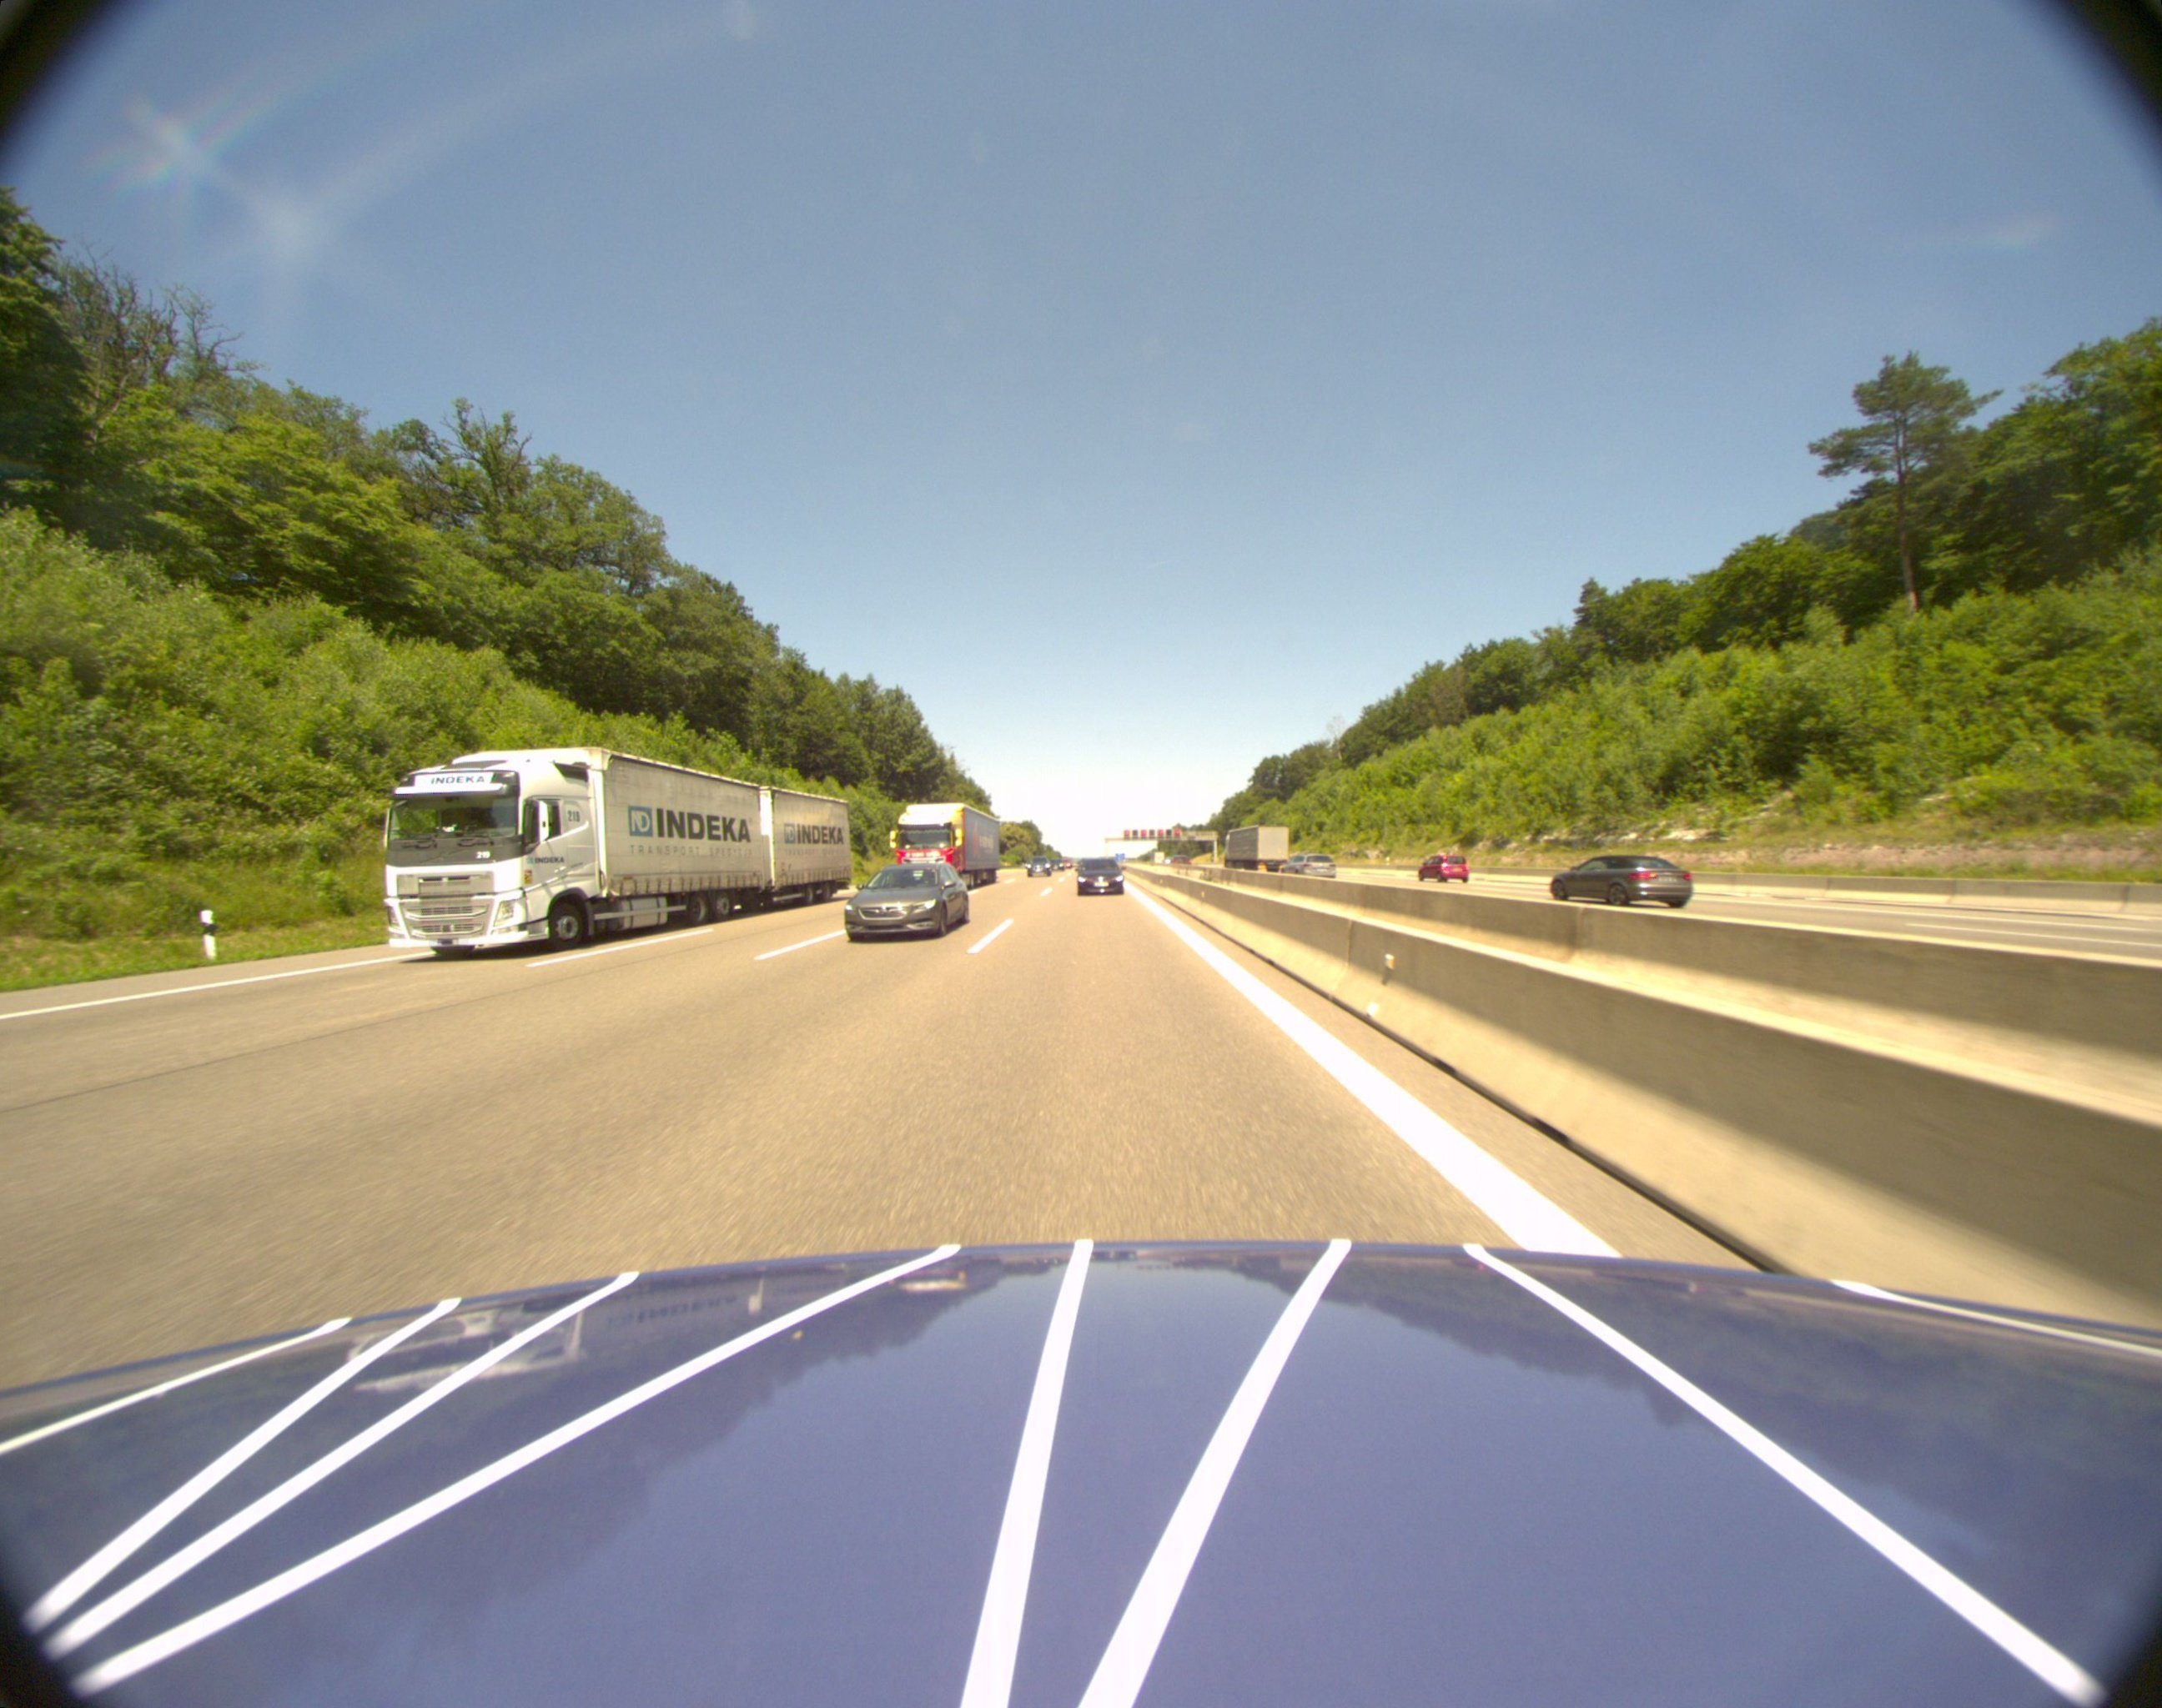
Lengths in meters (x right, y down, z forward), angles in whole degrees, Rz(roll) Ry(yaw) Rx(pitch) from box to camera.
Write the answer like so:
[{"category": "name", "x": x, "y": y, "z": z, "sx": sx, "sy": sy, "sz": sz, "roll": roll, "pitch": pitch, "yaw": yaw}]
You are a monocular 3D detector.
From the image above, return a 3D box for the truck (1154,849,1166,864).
[{"category": "truck", "x": 22.375, "y": 0.694, "z": 215.120, "sx": 2.666, "sy": 4.204, "sz": 8.414, "roll": -1, "pitch": 0, "yaw": 2}]

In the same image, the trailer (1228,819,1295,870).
[{"category": "trailer", "x": 16.495, "y": -0.834, "z": 70.667, "sx": 3.108, "sy": 4.229, "sz": 13.840, "roll": 0, "pitch": 0, "yaw": 1}]

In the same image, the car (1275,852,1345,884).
[{"category": "car", "x": 11.708, "y": 0.683, "z": 39.247, "sx": 2.032, "sy": 1.496, "sz": 5.441, "roll": -1, "pitch": 0, "yaw": 1}]

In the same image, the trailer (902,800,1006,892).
[{"category": "trailer", "x": -6.487, "y": -0.367, "z": 41.801, "sx": 2.926, "sy": 4.119, "sz": 14.849, "roll": -1, "pitch": 0, "yaw": 1}]

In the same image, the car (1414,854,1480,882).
[{"category": "car", "x": 20.184, "y": 0.735, "z": 42.079, "sx": 1.875, "sy": 1.492, "sz": 3.720, "roll": -1, "pitch": 0, "yaw": 1}]

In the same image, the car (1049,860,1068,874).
[{"category": "car", "x": -2.531, "y": 1.469, "z": 86.575, "sx": 1.910, "sy": 1.504, "sz": 4.160, "roll": -2, "pitch": 0, "yaw": 2}]

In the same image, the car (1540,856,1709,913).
[{"category": "car", "x": 15.218, "y": 0.785, "z": 21.618, "sx": 1.671, "sy": 1.399, "sz": 4.439, "roll": -1, "pitch": 0, "yaw": 1}]

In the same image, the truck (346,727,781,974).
[{"category": "truck", "x": -11.045, "y": -0.097, "z": 18.521, "sx": 2.728, "sy": 4.137, "sz": 10.969, "roll": -2, "pitch": 0, "yaw": 1}]

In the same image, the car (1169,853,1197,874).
[{"category": "car", "x": 8.922, "y": 0.816, "z": 66.845, "sx": 1.875, "sy": 1.767, "sz": 4.468, "roll": -1, "pitch": 0, "yaw": 1}]

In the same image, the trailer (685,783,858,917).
[{"category": "trailer", "x": -10.838, "y": -0.146, "z": 27.784, "sx": 2.585, "sy": 4.046, "sz": 8.382, "roll": -2, "pitch": 1, "yaw": 1}]

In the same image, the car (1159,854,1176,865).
[{"category": "car", "x": 13.063, "y": 0.819, "z": 114.562, "sx": 1.683, "sy": 1.539, "sz": 5.058, "roll": -1, "pitch": 0, "yaw": -3}]

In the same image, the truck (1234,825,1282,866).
[{"category": "truck", "x": 17.651, "y": -0.820, "z": 76.162, "sx": 3.273, "sy": 3.959, "sz": 6.797, "roll": -1, "pitch": 0, "yaw": 1}]

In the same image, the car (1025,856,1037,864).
[{"category": "car", "x": -9.615, "y": 1.086, "z": 145.736, "sx": 1.910, "sy": 1.504, "sz": 4.159, "roll": -1, "pitch": 0, "yaw": 0}]

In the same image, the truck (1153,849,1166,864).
[{"category": "truck", "x": 22.197, "y": 0.702, "z": 215.829, "sx": 2.919, "sy": 4.204, "sz": 9.863, "roll": -1, "pitch": 0, "yaw": 1}]

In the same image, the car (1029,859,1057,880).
[{"category": "car", "x": -3.024, "y": 1.261, "z": 61.373, "sx": 1.910, "sy": 1.504, "sz": 4.160, "roll": -2, "pitch": 0, "yaw": 2}]

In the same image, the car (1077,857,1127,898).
[{"category": "car", "x": 0.797, "y": 0.900, "z": 29.898, "sx": 1.777, "sy": 1.425, "sz": 4.144, "roll": -2, "pitch": -1, "yaw": 1}]

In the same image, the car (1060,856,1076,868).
[{"category": "car", "x": -1.819, "y": 1.082, "z": 106.355, "sx": 1.910, "sy": 1.504, "sz": 4.160, "roll": -2, "pitch": 0, "yaw": 2}]

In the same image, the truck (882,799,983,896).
[{"category": "truck", "x": -6.671, "y": -0.266, "z": 35.362, "sx": 3.018, "sy": 3.958, "sz": 7.540, "roll": -2, "pitch": 0, "yaw": 1}]

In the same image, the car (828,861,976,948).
[{"category": "car", "x": -3.603, "y": 0.942, "z": 16.386, "sx": 1.972, "sy": 1.444, "sz": 5.223, "roll": -2, "pitch": 0, "yaw": -1}]
